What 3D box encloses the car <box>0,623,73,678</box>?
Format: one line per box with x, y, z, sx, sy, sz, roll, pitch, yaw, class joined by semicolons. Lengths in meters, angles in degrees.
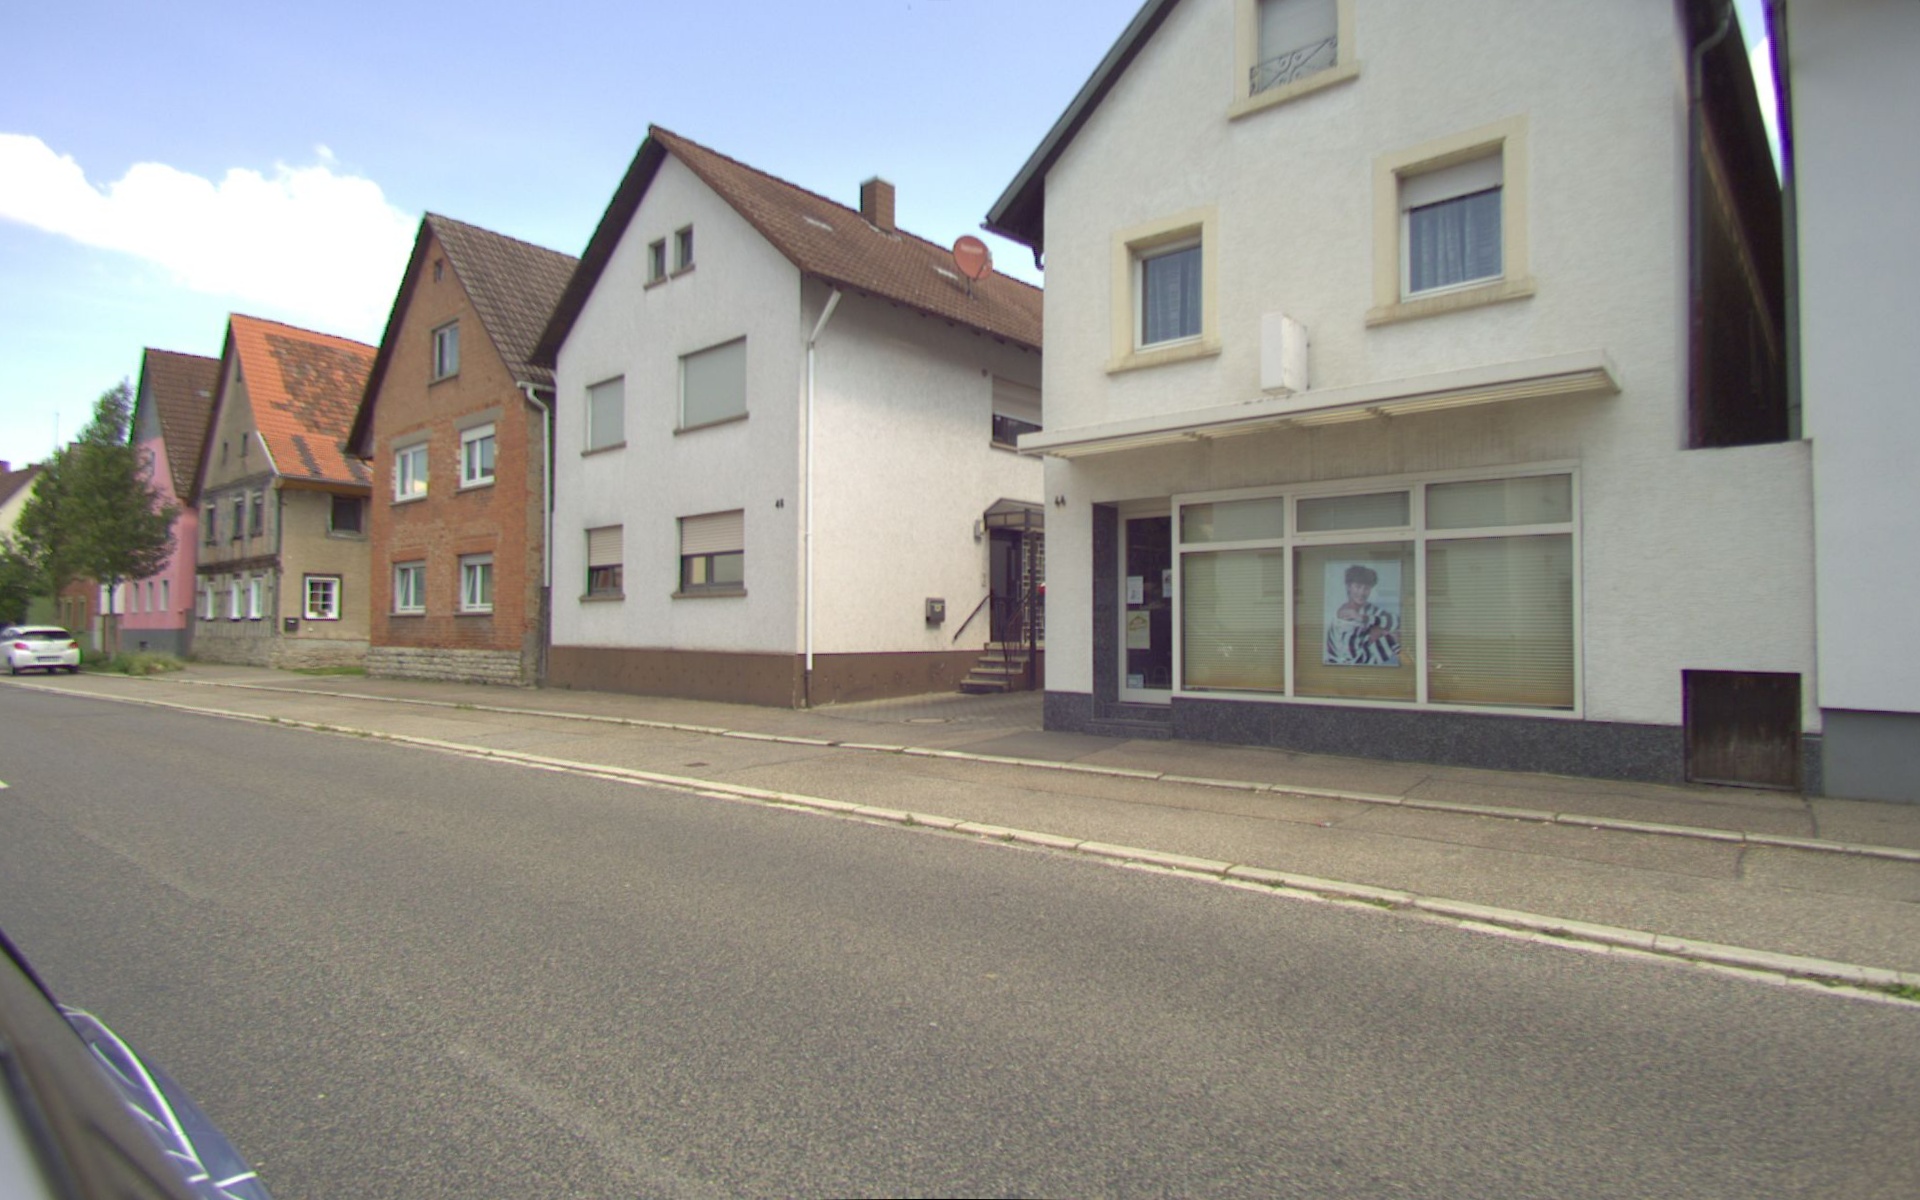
-28.664;1.507;31.168;3.498;1.541;1.661;0;0;42;car
